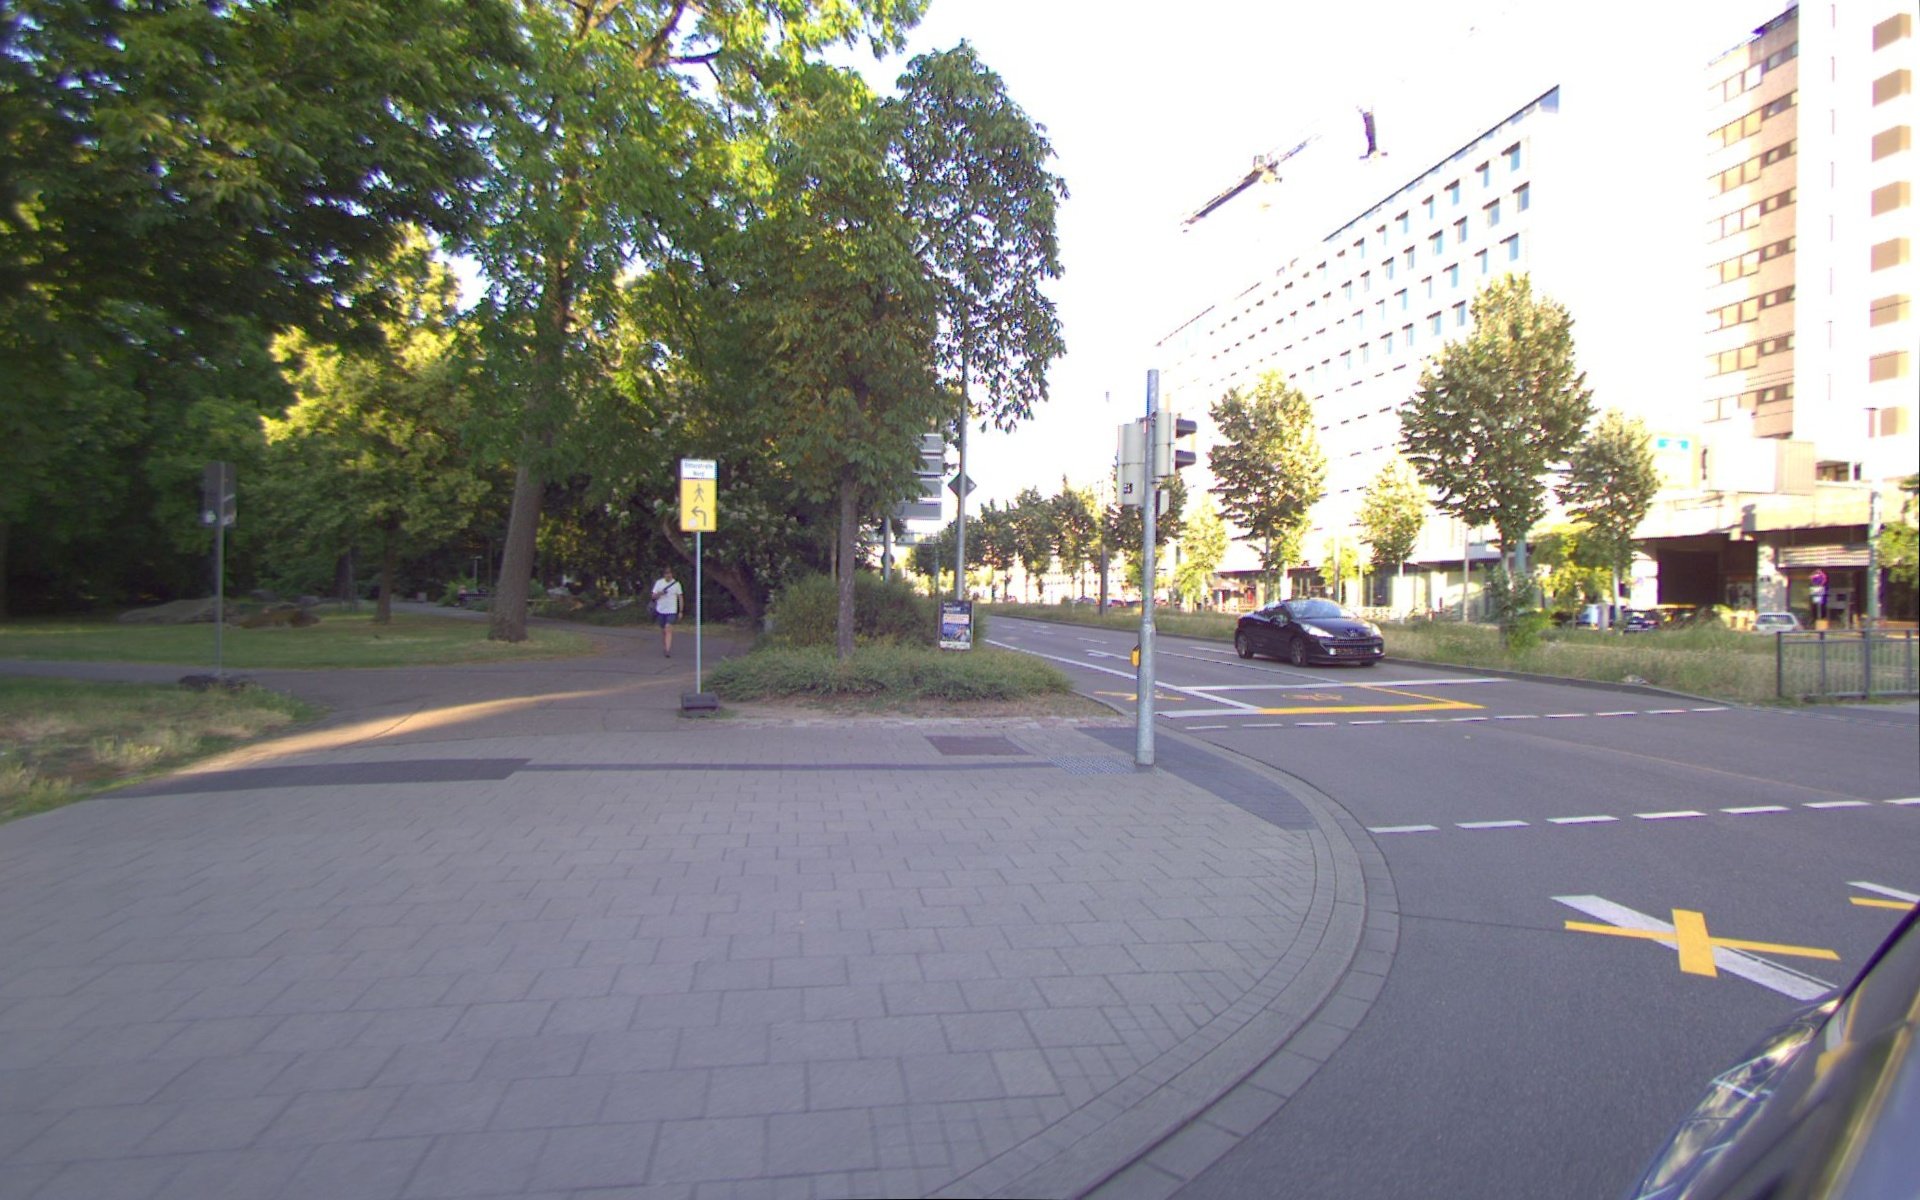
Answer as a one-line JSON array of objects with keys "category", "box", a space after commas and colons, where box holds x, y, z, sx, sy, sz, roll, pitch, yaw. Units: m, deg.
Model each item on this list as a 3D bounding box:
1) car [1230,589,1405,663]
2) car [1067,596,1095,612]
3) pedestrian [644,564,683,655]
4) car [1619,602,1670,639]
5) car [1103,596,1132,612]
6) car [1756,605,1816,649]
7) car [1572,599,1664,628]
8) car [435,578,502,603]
[{"category": "car", "box": [7.318, 0.475, 21.148, 1.763, 1.405, 3.915, 0, 0, -10]}, {"category": "car", "box": [12.470, 0.435, 104.396, 1.687, 1.581, 4.338, 0, 0, -9]}, {"category": "pedestrian", "box": [-5.975, 0.183, 20.390, 0.731, 1.777, 0.967, 1, 0, -17]}, {"category": "car", "box": [31.401, 0.890, 46.375, 1.713, 1.581, 4.272, 1, 0, 38]}, {"category": "car", "box": [16.371, 0.404, 105.240, 1.687, 1.581, 4.338, 0, 0, -9]}, {"category": "car", "box": [32.721, 1.017, 40.161, 1.713, 1.581, 4.272, 1, 0, 38]}, {"category": "car", "box": [37.705, 0.756, 58.057, 4.244, 1.581, 1.724, 0, 0, -5]}, {"category": "car", "box": [-26.941, -0.526, 55.500, 3.169, 1.371, 1.564, 0, 1, -32]}]
